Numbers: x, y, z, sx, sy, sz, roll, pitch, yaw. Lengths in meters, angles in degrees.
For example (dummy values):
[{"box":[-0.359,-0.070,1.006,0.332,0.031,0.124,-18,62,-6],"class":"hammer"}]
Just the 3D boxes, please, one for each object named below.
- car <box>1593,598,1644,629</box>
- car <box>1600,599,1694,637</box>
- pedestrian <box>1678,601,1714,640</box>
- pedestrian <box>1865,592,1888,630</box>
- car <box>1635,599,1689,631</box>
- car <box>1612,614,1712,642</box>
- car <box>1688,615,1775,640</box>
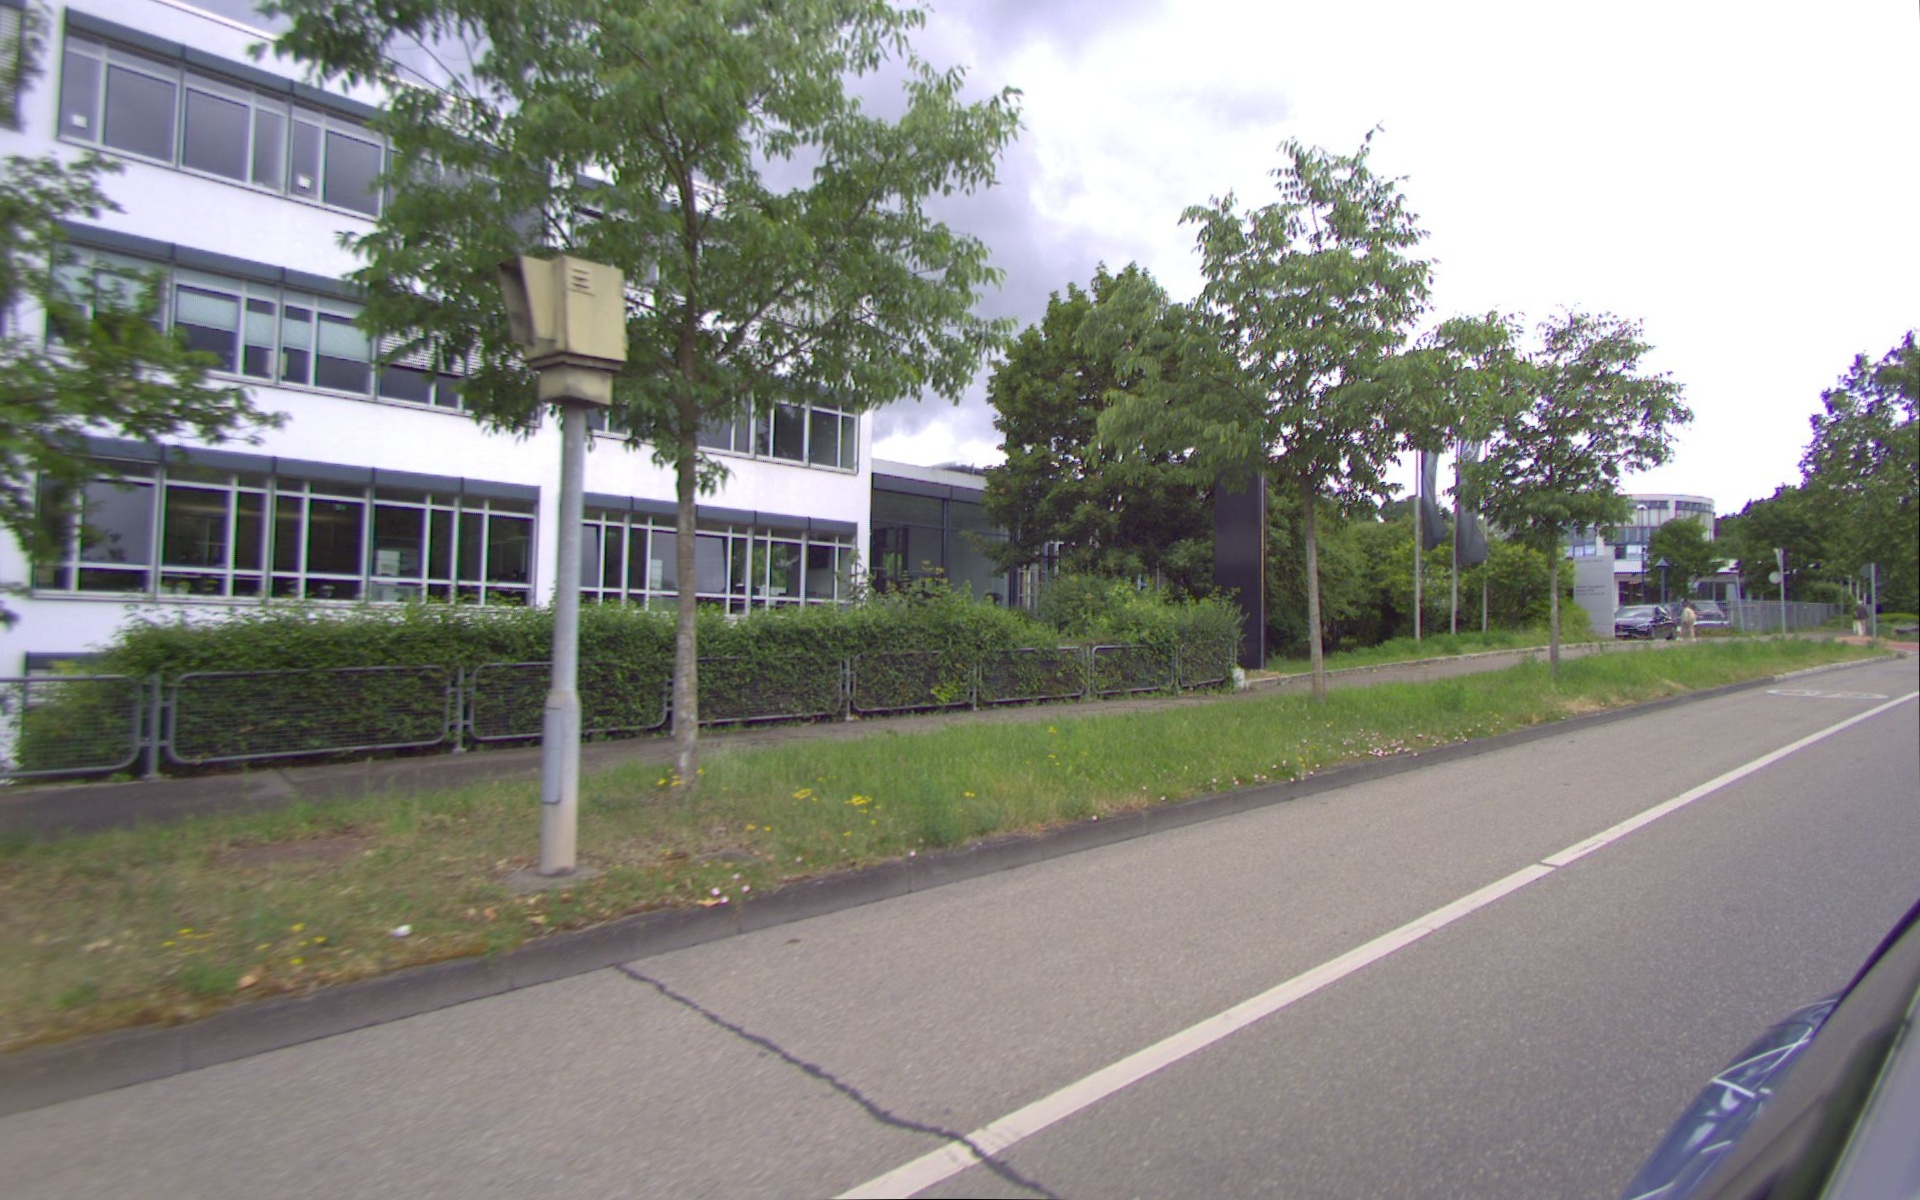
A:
[{"box":[50.663,1.046,77.990,2.087,2.304,4.458,1,-1,17],"class":"car"},{"box":[27.649,0.719,40.667,4.892,1.435,1.849,1,-3,-40],"class":"car"},{"box":[30.857,0.838,42.428,0.797,1.586,0.944,0,1,0],"class":"pedestrian"},{"box":[42.781,0.523,47.251,0.493,1.748,0.732,0,1,-44],"class":"pedestrian"},{"box":[52.773,1.128,76.175,2.087,2.304,4.458,1,-1,17],"class":"car"},{"box":[37.976,1.548,54.854,1.963,1.335,3.996,2,-5,-37],"class":"car"},{"box":[50.485,1.834,66.271,1.787,1.468,4.182,2,-4,-41],"class":"car"}]
